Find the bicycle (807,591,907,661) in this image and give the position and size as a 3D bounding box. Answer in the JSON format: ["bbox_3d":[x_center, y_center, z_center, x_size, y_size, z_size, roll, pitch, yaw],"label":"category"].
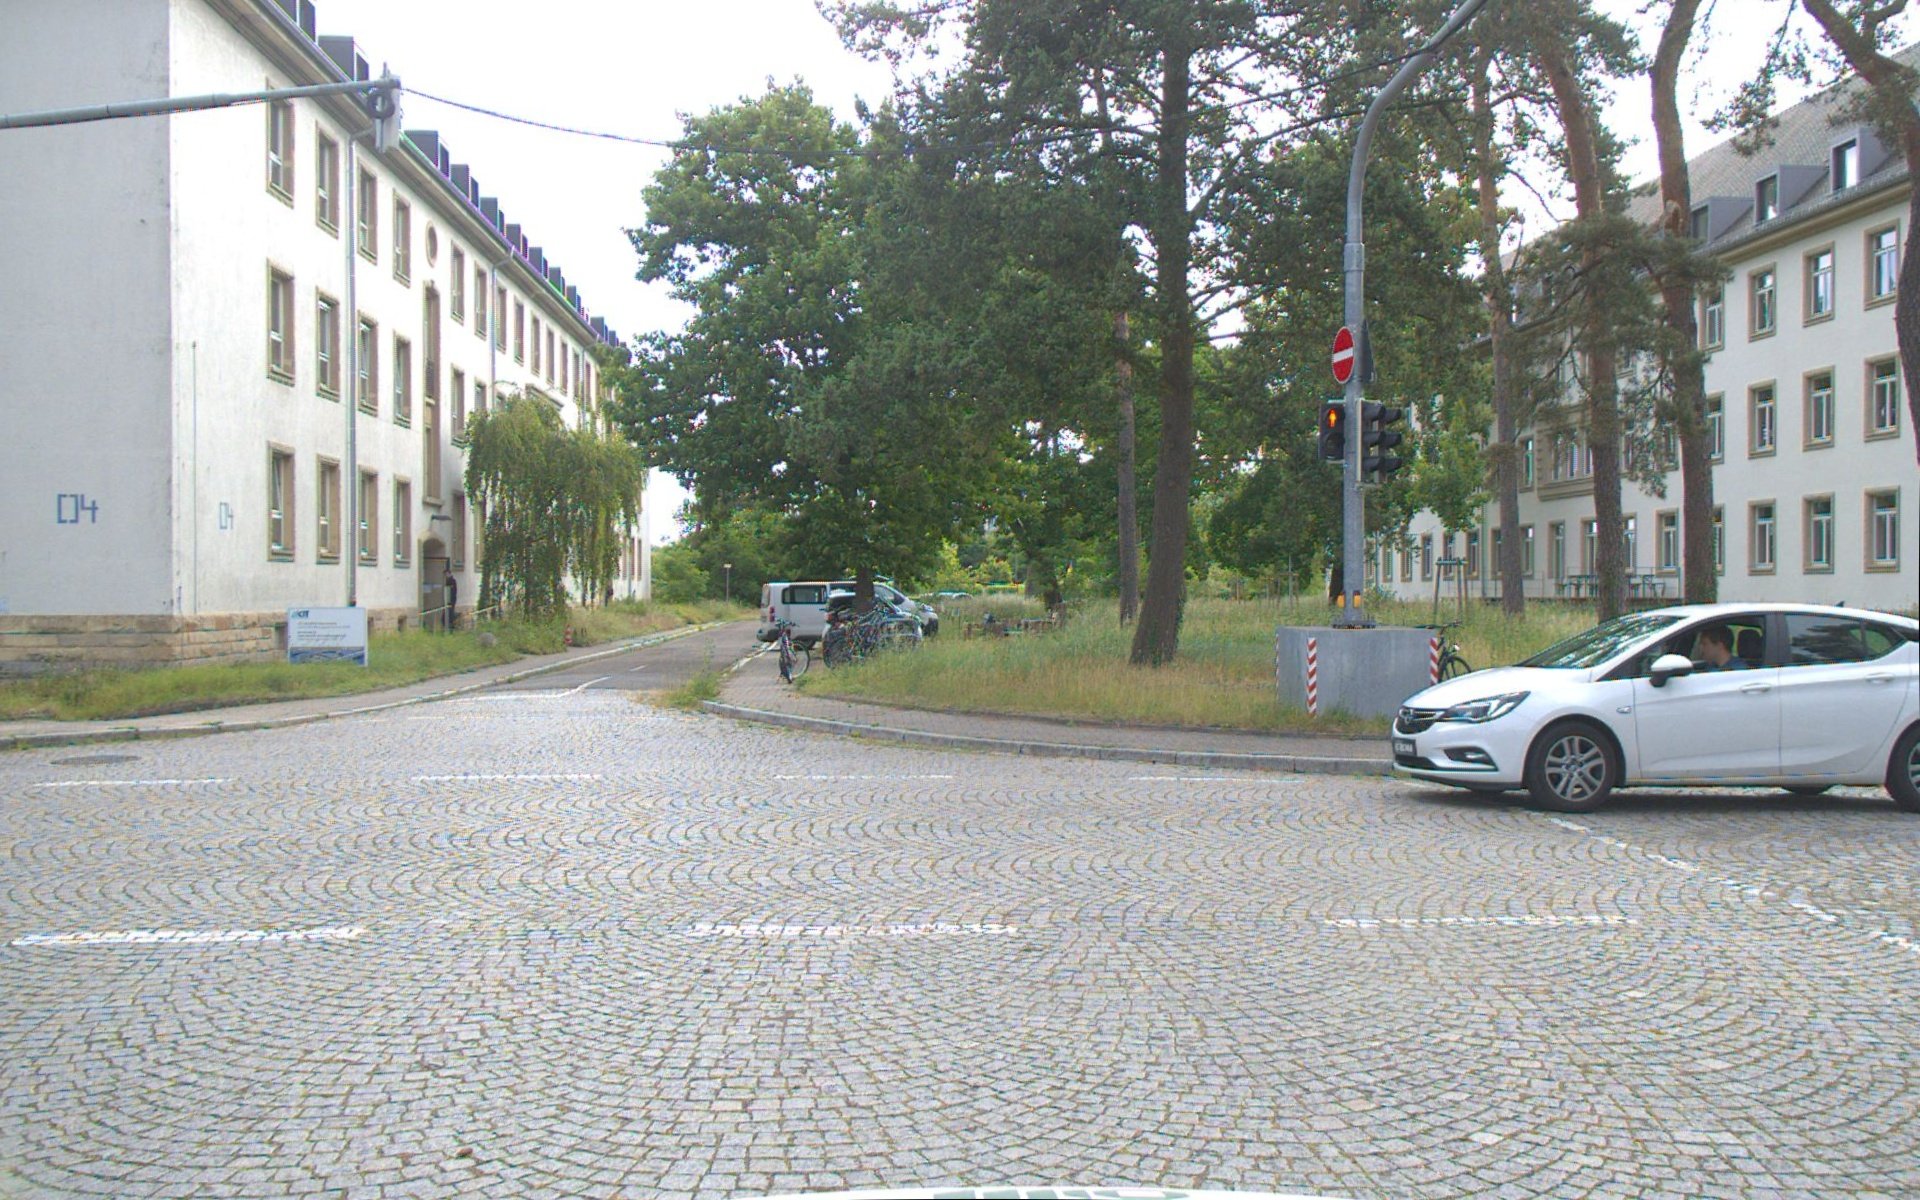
[{"bbox_3d":[-2.096,0.519,33.754,2.028,1.402,0.619,0,0,-3],"label":"bicycle"}]

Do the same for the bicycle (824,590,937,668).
[{"bbox_3d":[-1.453,0.523,30.163,2.028,1.402,0.619,0,0,-3],"label":"bicycle"}]

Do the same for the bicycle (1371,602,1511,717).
[{"bbox_3d":[5.292,0.624,18.328,0.891,1.197,1.872,0,0,-5],"label":"bicycle"}]

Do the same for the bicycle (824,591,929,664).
[{"bbox_3d":[-1.627,0.527,32.247,2.028,1.402,0.619,0,0,-3],"label":"bicycle"}]

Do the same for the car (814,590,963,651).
[{"bbox_3d":[-1.971,0.533,44.671,3.859,1.571,1.996,0,0,-9],"label":"car"}]

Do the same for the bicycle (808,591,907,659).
[{"bbox_3d":[-2.131,0.522,34.500,2.028,1.402,0.619,0,0,-3],"label":"bicycle"}]

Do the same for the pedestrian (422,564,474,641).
[{"bbox_3d":[-13.854,0.063,44.753,1.064,2.049,1.022,0,0,1],"label":"pedestrian"}]

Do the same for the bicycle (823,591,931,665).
[{"bbox_3d":[-1.583,0.524,31.452,2.028,1.402,0.619,0,0,-3],"label":"bicycle"}]

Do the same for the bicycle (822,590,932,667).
[{"bbox_3d":[-1.540,0.523,30.829,2.028,1.402,0.619,0,0,-3],"label":"bicycle"}]

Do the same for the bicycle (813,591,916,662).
[{"bbox_3d":[-1.901,0.520,33.028,2.028,1.402,0.619,0,0,-3],"label":"bicycle"}]

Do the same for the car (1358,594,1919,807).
[{"bbox_3d":[5.289,0.698,12.312,4.159,1.441,1.886,0,-1,-4],"label":"car"}]

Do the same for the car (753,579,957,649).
[{"bbox_3d":[-3.064,0.371,47.973,5.600,1.944,2.220,0,0,-16],"label":"car"}]

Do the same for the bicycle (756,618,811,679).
[{"bbox_3d":[-2.996,0.813,28.259,0.605,0.980,2.077,0,0,3],"label":"bicycle"}]
